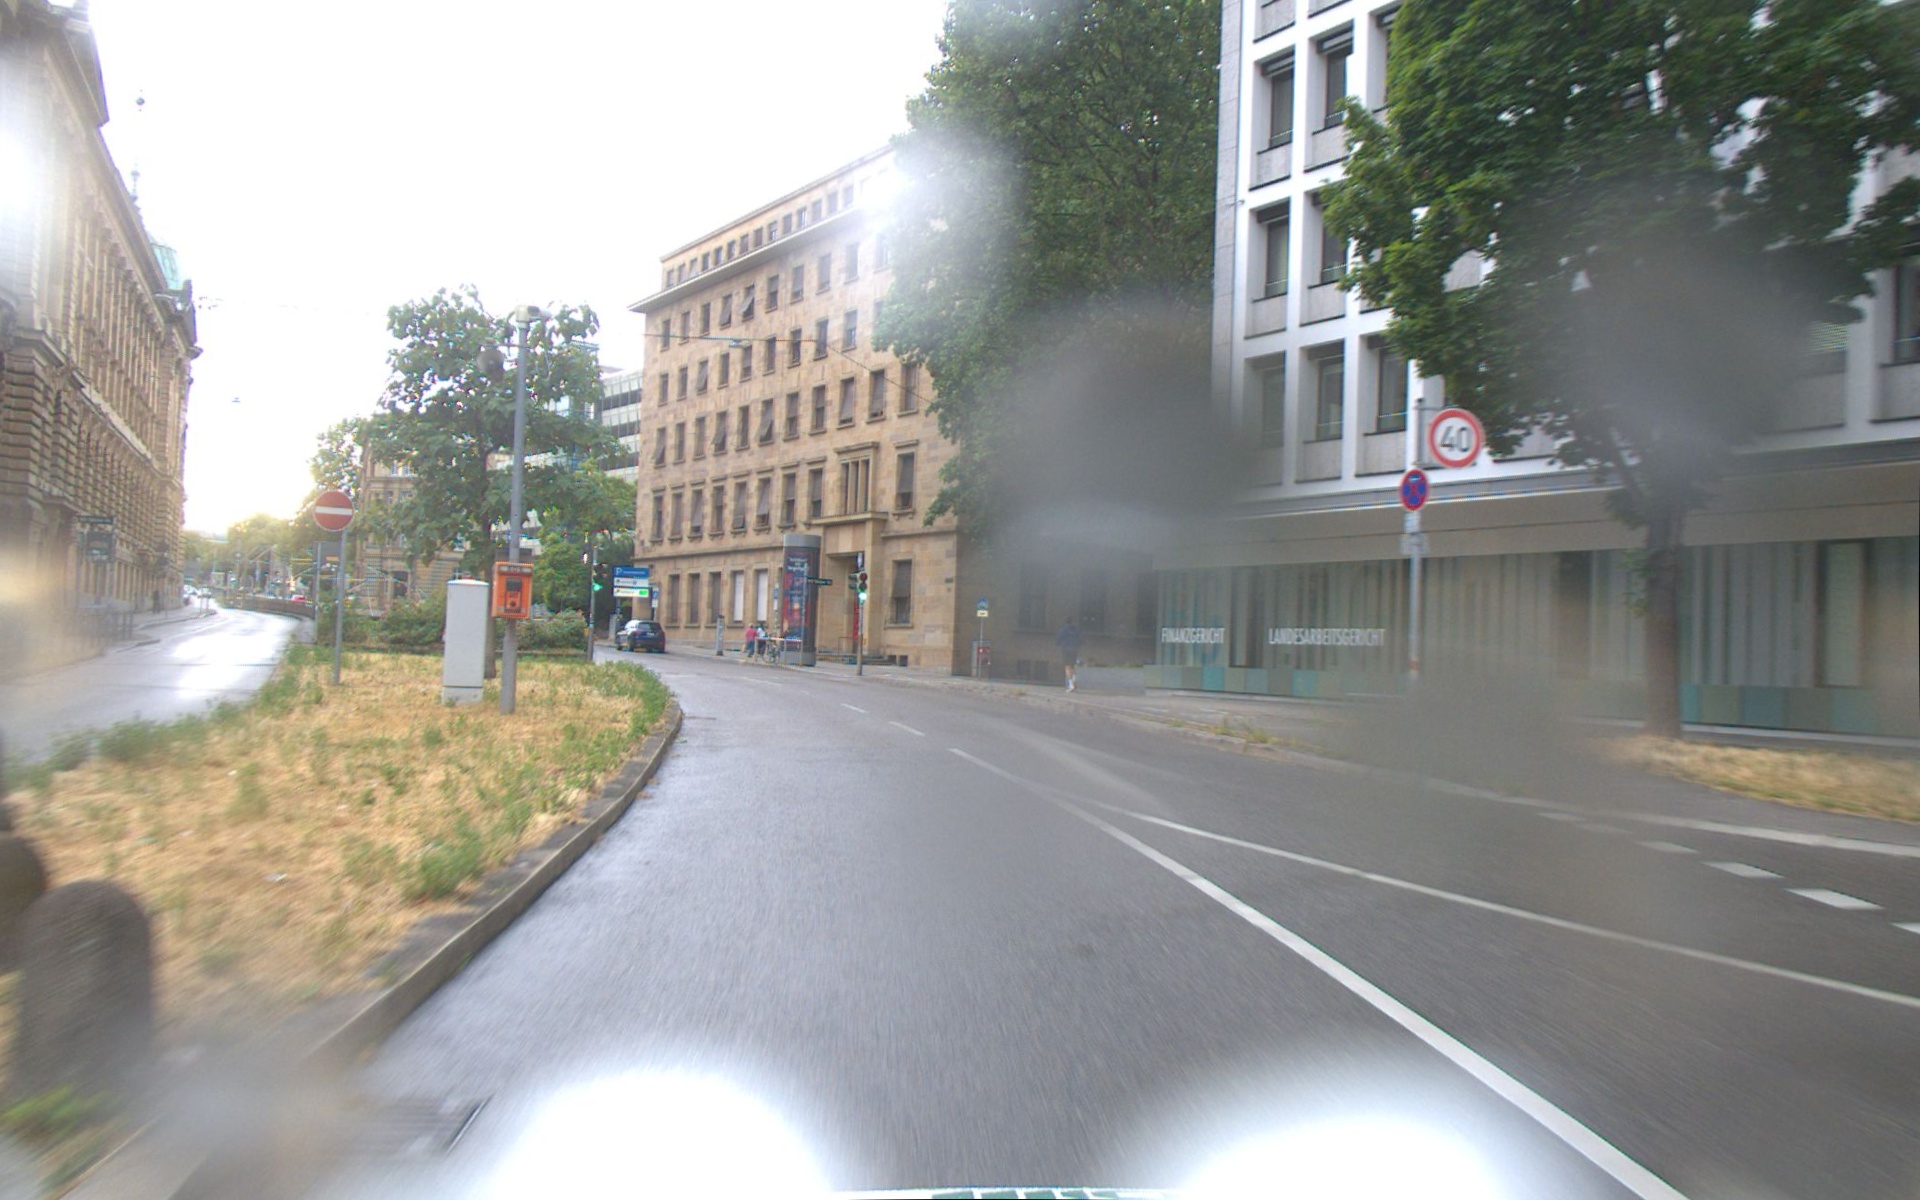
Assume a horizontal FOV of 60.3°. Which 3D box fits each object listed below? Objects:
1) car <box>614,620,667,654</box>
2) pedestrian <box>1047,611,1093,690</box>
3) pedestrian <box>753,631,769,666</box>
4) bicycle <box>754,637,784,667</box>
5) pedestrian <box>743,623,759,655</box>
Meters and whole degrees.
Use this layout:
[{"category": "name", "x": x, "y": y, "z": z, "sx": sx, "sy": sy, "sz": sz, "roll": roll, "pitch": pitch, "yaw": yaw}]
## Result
[{"category": "car", "x": -16.536, "y": 1.917, "z": 85.571, "sx": 1.745, "sy": 1.648, "sz": 4.126, "roll": 4, "pitch": -2, "yaw": -24}, {"category": "pedestrian", "x": 2.570, "y": 1.166, "z": 38.721, "sx": 0.766, "sy": 1.803, "sz": 0.859, "roll": 3, "pitch": -2, "yaw": -16}, {"category": "pedestrian", "x": -9.386, "y": 2.293, "z": 78.059, "sx": 0.517, "sy": 1.631, "sz": 0.670, "roll": 3, "pitch": -2, "yaw": -20}, {"category": "bicycle", "x": -6.900, "y": 1.881, "z": 59.681, "sx": 0.482, "sy": 1.030, "sz": 1.913, "roll": 3, "pitch": -2, "yaw": -24}, {"category": "pedestrian", "x": -9.822, "y": 1.832, "z": 77.703, "sx": 0.517, "sy": 1.518, "sz": 0.669, "roll": 3, "pitch": -2, "yaw": -22}]
